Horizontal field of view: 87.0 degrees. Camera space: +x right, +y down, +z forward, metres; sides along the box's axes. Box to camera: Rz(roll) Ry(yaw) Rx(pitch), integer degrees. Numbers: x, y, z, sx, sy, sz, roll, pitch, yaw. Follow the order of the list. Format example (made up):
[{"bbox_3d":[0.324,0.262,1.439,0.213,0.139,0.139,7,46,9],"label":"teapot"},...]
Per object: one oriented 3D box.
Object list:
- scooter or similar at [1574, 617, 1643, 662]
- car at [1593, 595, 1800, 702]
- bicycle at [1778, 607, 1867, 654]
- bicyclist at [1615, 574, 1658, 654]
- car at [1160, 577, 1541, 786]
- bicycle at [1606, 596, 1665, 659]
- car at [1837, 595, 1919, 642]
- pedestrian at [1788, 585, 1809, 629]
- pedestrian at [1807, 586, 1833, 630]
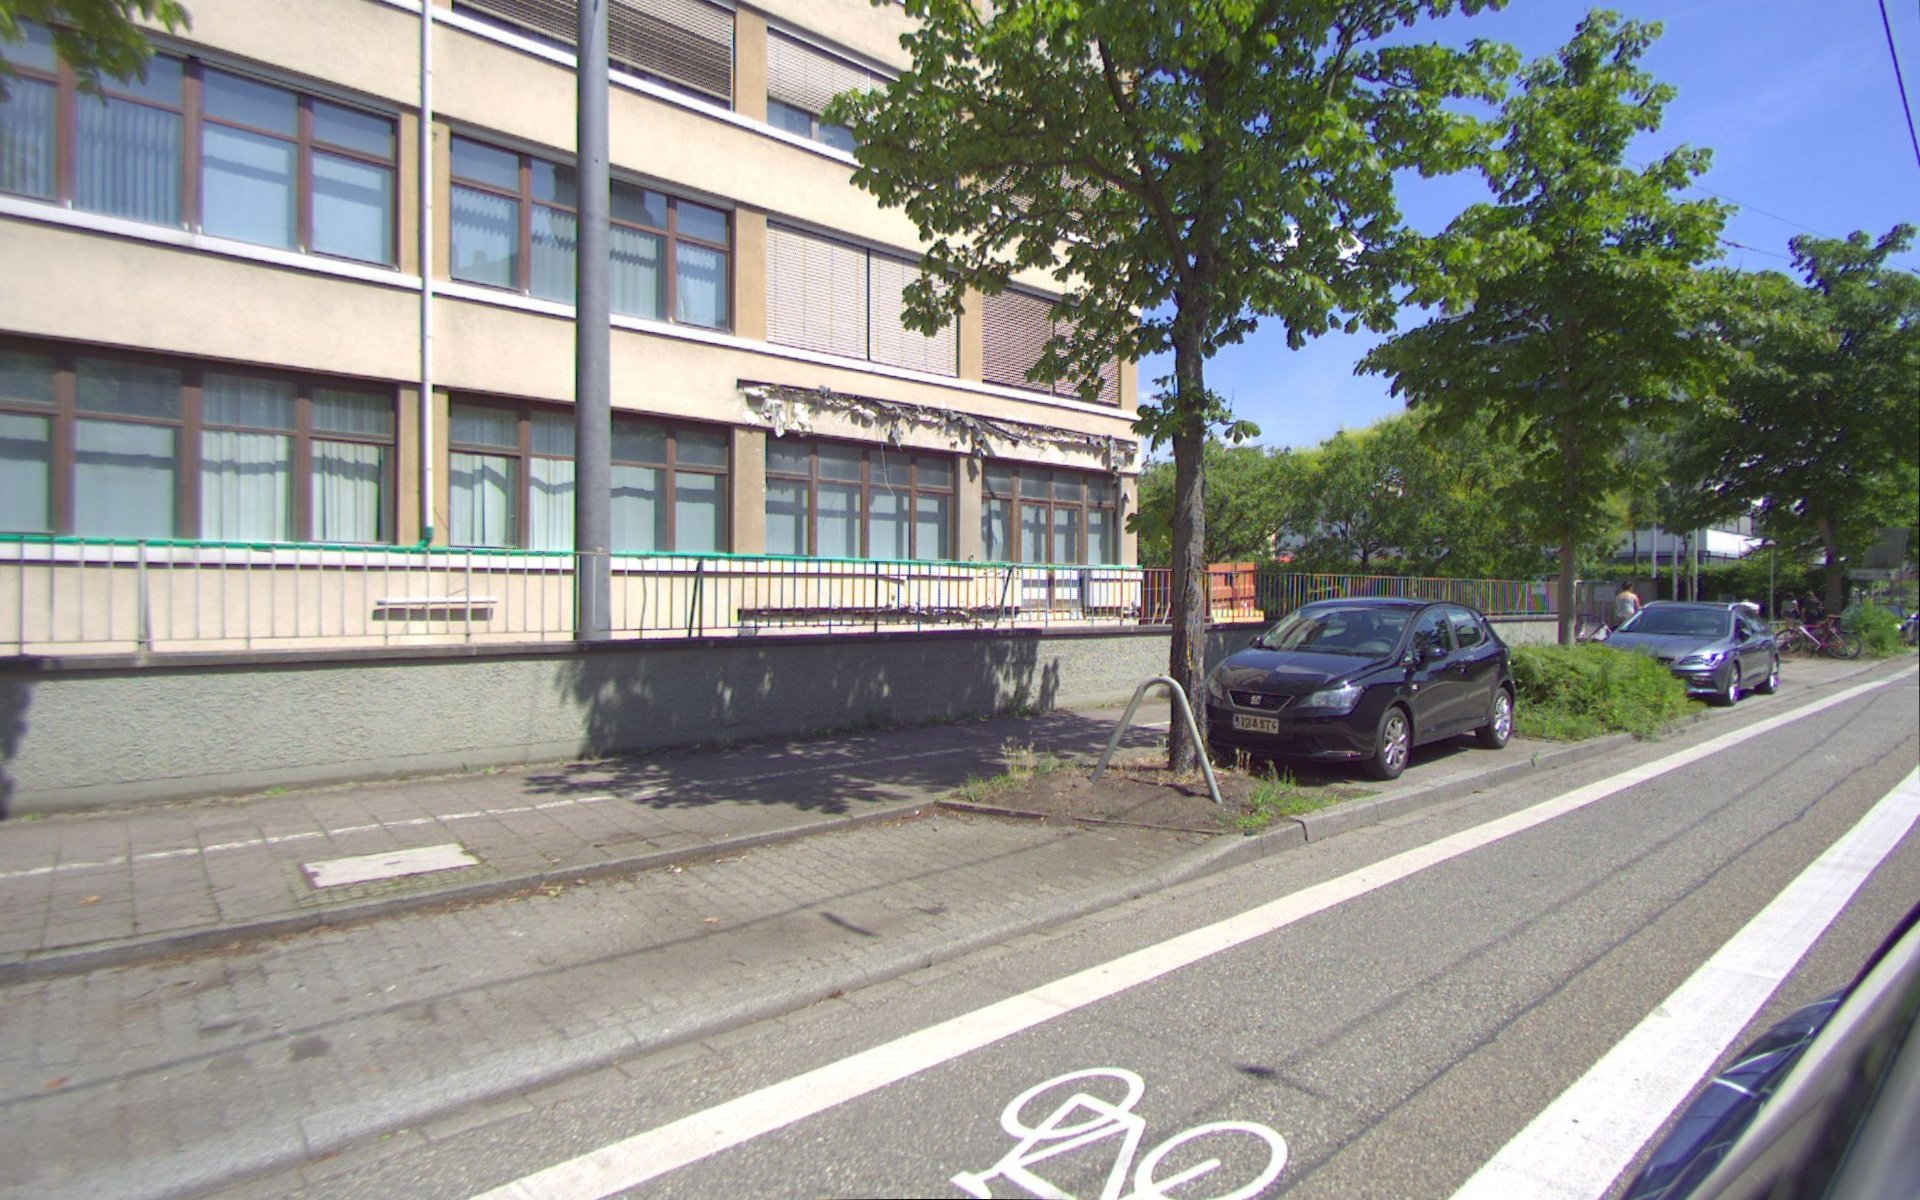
[{"bbox_3d":[13.174,0.788,20.542,1.528,0.817,0.763,0,2,-41],"label":"scooter or similar"},{"bbox_3d":[11.521,0.640,15.705,4.667,1.426,1.674,0,0,-42],"label":"car"},{"bbox_3d":[20.821,0.727,24.446,0.552,1.073,1.588,0,0,-41],"label":"bicycle"},{"bbox_3d":[14.411,0.281,21.569,0.589,1.668,0.581,0,1,-41],"label":"bicyclist"},{"bbox_3d":[3.698,0.574,9.249,3.912,1.508,1.674,0,0,-42],"label":"car"},{"bbox_3d":[14.419,0.564,21.583,1.743,1.281,0.556,0,2,-41],"label":"bicycle"},{"bbox_3d":[27.544,0.520,30.017,3.766,1.287,1.754,0,-1,-41],"label":"car"},{"bbox_3d":[31.281,0.256,37.750,0.535,1.593,0.514,0,1,-40],"label":"pedestrian"},{"bbox_3d":[31.699,0.271,37.295,0.600,1.593,0.620,0,1,-40],"label":"pedestrian"}]
